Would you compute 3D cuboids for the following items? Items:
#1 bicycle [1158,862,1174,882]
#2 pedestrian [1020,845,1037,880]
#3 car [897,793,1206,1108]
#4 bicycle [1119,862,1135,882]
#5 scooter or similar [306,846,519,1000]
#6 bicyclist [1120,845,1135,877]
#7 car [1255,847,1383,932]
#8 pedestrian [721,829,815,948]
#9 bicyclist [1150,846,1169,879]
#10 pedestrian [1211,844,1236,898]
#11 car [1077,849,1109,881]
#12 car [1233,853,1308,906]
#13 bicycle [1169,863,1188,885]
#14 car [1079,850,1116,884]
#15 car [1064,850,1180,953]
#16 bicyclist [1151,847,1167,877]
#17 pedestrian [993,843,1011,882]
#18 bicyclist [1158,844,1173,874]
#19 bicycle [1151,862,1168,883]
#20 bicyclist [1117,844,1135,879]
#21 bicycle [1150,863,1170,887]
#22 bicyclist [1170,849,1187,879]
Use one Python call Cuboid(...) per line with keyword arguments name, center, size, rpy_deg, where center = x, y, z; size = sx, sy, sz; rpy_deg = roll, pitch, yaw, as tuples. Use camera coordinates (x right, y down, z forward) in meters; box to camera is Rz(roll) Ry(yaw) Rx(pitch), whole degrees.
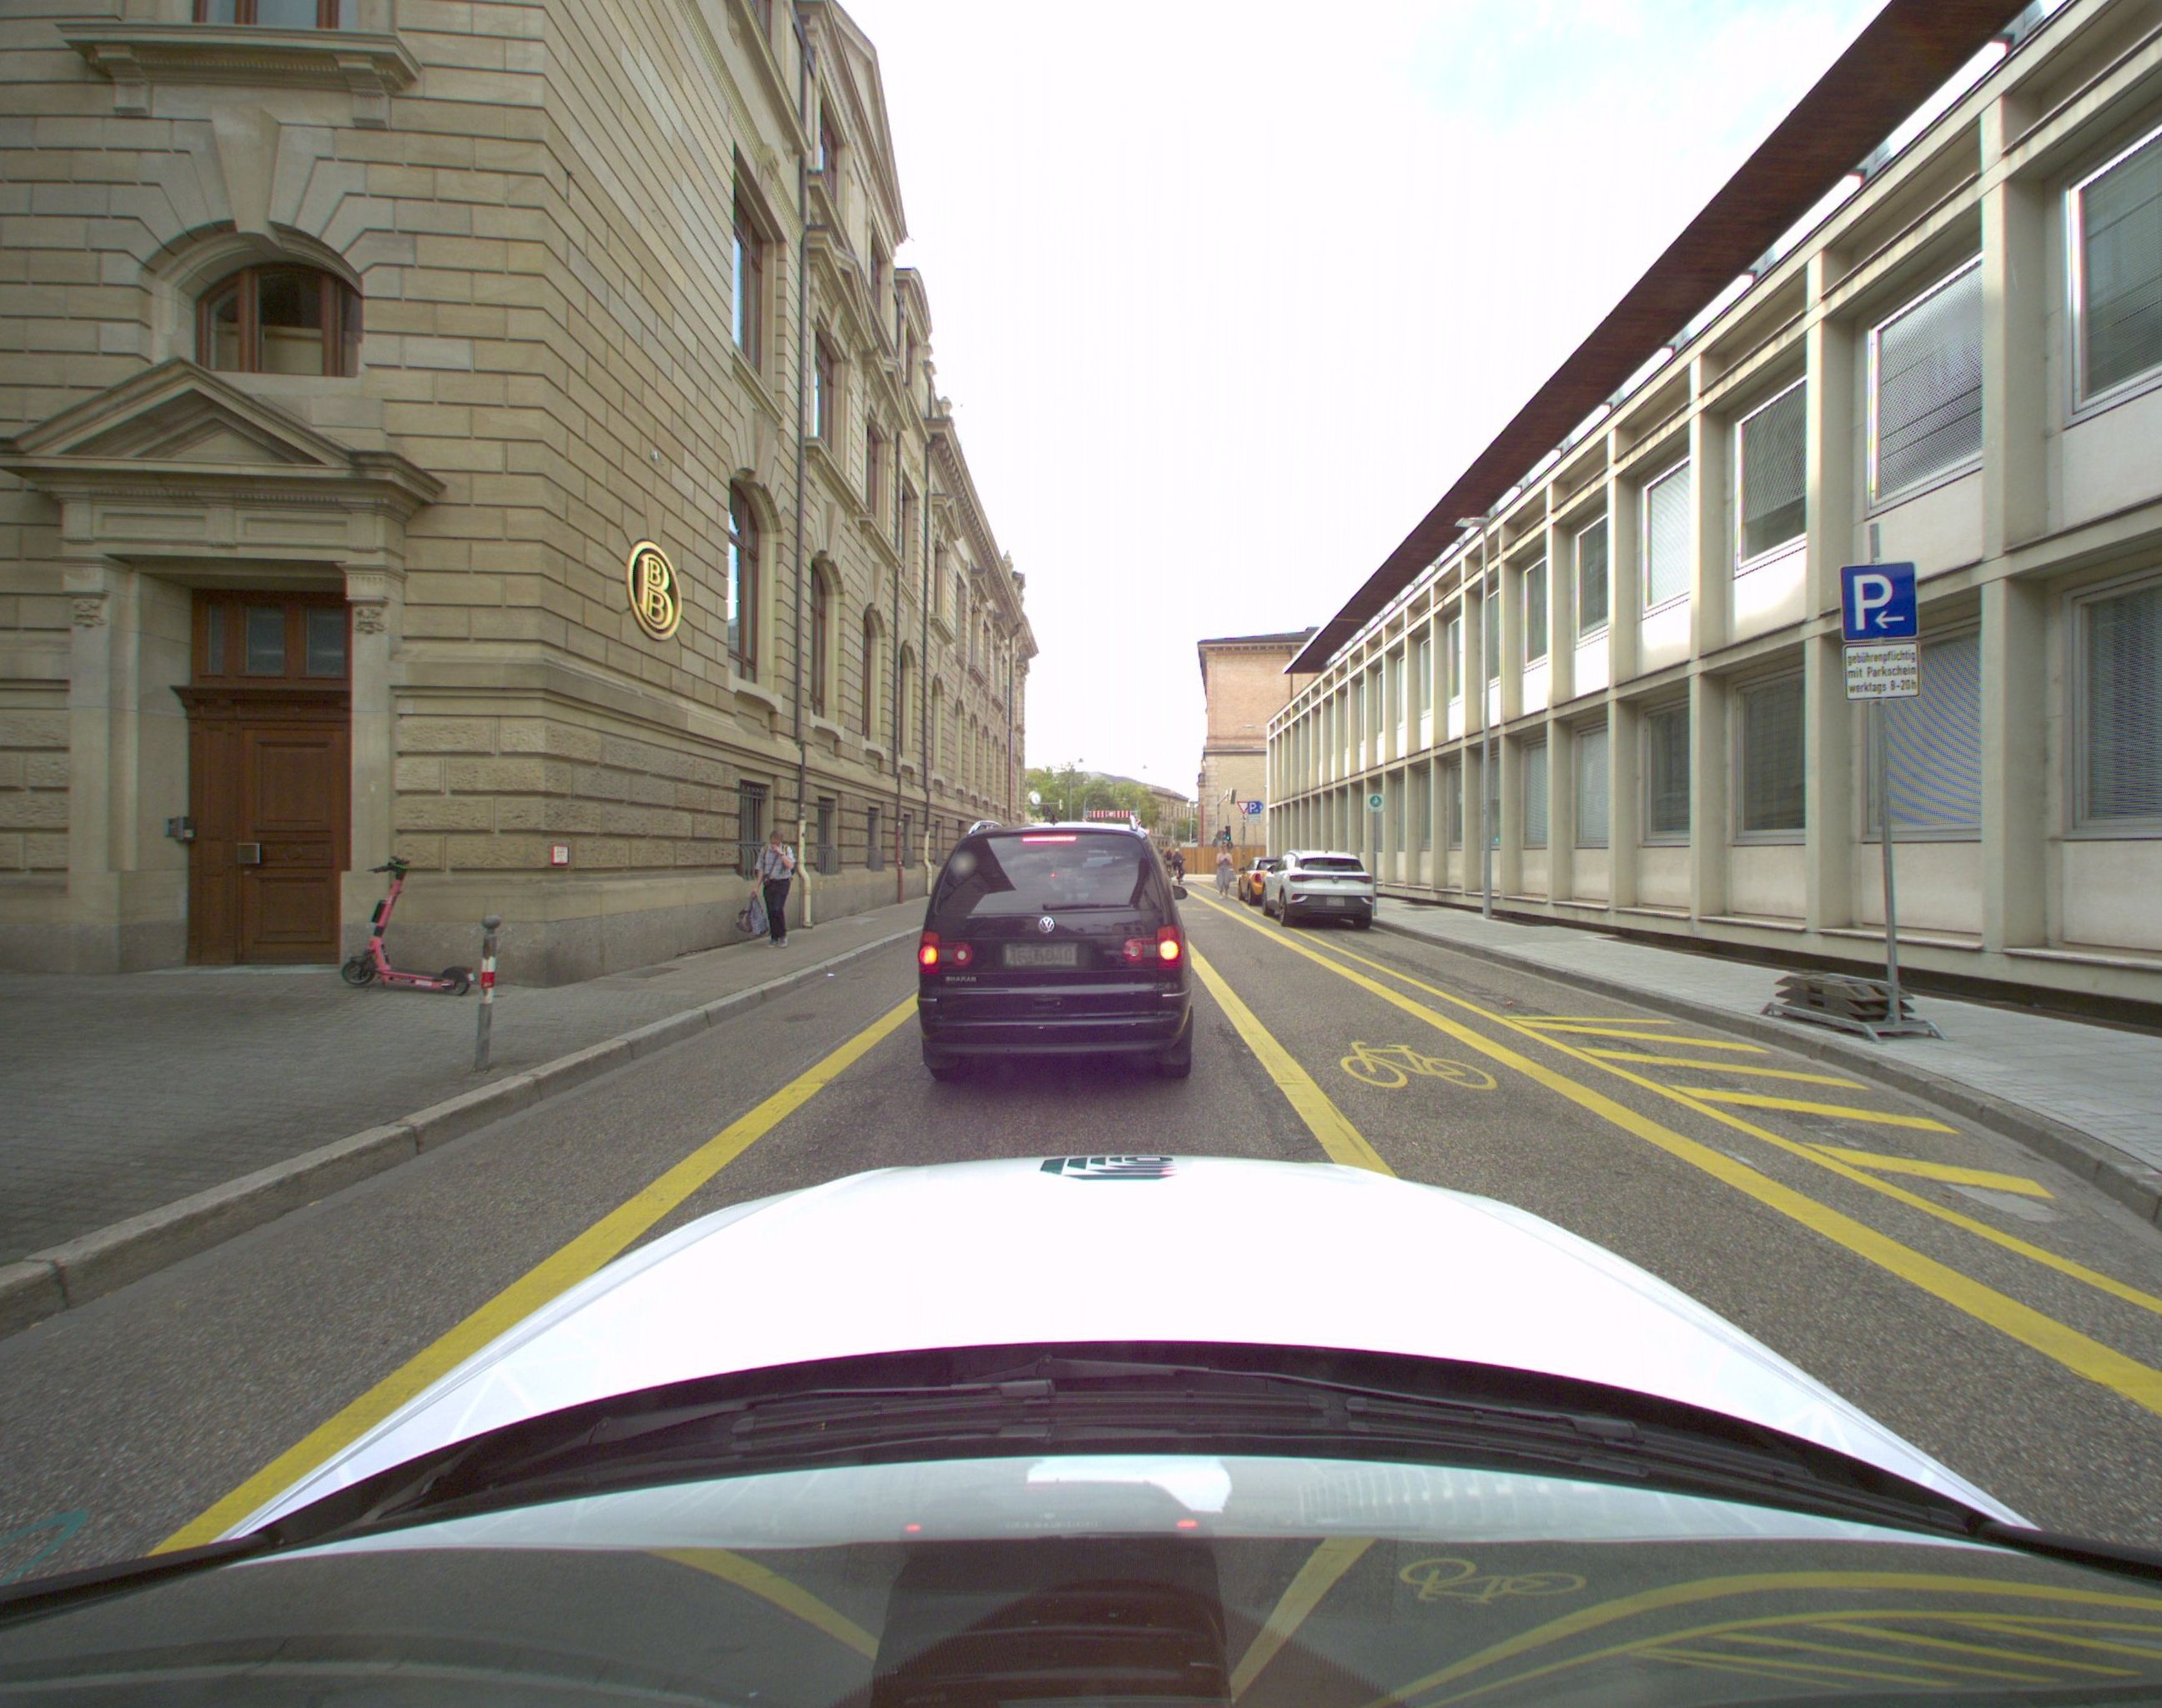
Cuboid(name="bicycle", center=(4.498, 0.932, 43.205), size=(0.732, 1.009, 2.069), rpy_deg=(0, -1, 2))
Cuboid(name="pedestrian", center=(-2.830, 0.463, 44.025), size=(0.789, 1.819, 1.048), rpy_deg=(2, -1, 2))
Cuboid(name="car", center=(-0.008, 0.558, 6.745), size=(1.781, 1.790, 4.108), rpy_deg=(0, 0, 5))
Cuboid(name="bicycle", center=(2.360, 0.901, 41.890), size=(0.732, 1.009, 2.069), rpy_deg=(0, -1, 2))
Cuboid(name="scooter or similar", center=(-6.177, 0.614, 7.571), size=(1.441, 1.310, 0.587), rpy_deg=(3, 1, 0))
Cuboid(name="bicyclist", center=(2.375, 0.372, 41.830), size=(0.732, 1.611, 0.695), rpy_deg=(0, -1, 1))
Cuboid(name="car", center=(5.235, 0.713, 18.530), size=(1.851, 1.605, 4.518), rpy_deg=(3, 0, 5))
Cuboid(name="pedestrian", center=(-4.715, 0.509, 12.340), size=(1.022, 1.720, 0.819), rpy_deg=(2, -1, 1))
Cuboid(name="bicyclist", center=(3.392, 0.365, 35.301), size=(0.732, 1.377, 0.829), rpy_deg=(0, -1, 1))
Cuboid(name="pedestrian", center=(4.700, 0.557, 26.842), size=(0.701, 1.764, 0.700), rpy_deg=(0, -1, 1))
Cuboid(name="car", center=(0.660, 0.605, 47.415), size=(1.729, 1.790, 4.101), rpy_deg=(0, 0, -1))
Cuboid(name="car", center=(5.758, 0.748, 25.145), size=(1.672, 1.435, 3.891), rpy_deg=(3, 0, 5))
Cuboid(name="bicycle", center=(4.556, 0.921, 38.184), size=(0.732, 1.009, 2.069), rpy_deg=(0, -1, 2))
Cuboid(name="car", center=(0.841, 0.643, 40.401), size=(1.766, 1.586, 4.001), rpy_deg=(0, -1, 2))
Cuboid(name="car", center=(0.758, 0.698, 13.840), size=(1.670, 1.469, 4.108), rpy_deg=(0, 0, 5))
Cuboid(name="bicyclist", center=(3.888, 0.416, 40.530), size=(0.732, 1.470, 0.809), rpy_deg=(0, -1, 1))
Cuboid(name="pedestrian", center=(-3.761, 0.397, 38.989), size=(0.661, 1.819, 1.048), rpy_deg=(2, -1, 2))
Cuboid(name="bicyclist", center=(4.499, 0.267, 43.310), size=(0.732, 1.555, 0.896), rpy_deg=(0, -1, 1))
Cuboid(name="bicycle", center=(3.883, 0.921, 40.508), size=(0.732, 1.009, 2.069), rpy_deg=(0, -1, 2))
Cuboid(name="bicyclist", center=(1.935, 0.338, 35.047), size=(0.732, 1.478, 0.885), rpy_deg=(0, -1, 1))
Cuboid(name="bicycle", center=(3.411, 0.895, 35.294), size=(0.732, 1.009, 2.069), rpy_deg=(0, -1, 2))
Cuboid(name="bicyclist", center=(4.556, 0.459, 38.173), size=(0.732, 1.375, 0.832), rpy_deg=(0, -1, 1))
